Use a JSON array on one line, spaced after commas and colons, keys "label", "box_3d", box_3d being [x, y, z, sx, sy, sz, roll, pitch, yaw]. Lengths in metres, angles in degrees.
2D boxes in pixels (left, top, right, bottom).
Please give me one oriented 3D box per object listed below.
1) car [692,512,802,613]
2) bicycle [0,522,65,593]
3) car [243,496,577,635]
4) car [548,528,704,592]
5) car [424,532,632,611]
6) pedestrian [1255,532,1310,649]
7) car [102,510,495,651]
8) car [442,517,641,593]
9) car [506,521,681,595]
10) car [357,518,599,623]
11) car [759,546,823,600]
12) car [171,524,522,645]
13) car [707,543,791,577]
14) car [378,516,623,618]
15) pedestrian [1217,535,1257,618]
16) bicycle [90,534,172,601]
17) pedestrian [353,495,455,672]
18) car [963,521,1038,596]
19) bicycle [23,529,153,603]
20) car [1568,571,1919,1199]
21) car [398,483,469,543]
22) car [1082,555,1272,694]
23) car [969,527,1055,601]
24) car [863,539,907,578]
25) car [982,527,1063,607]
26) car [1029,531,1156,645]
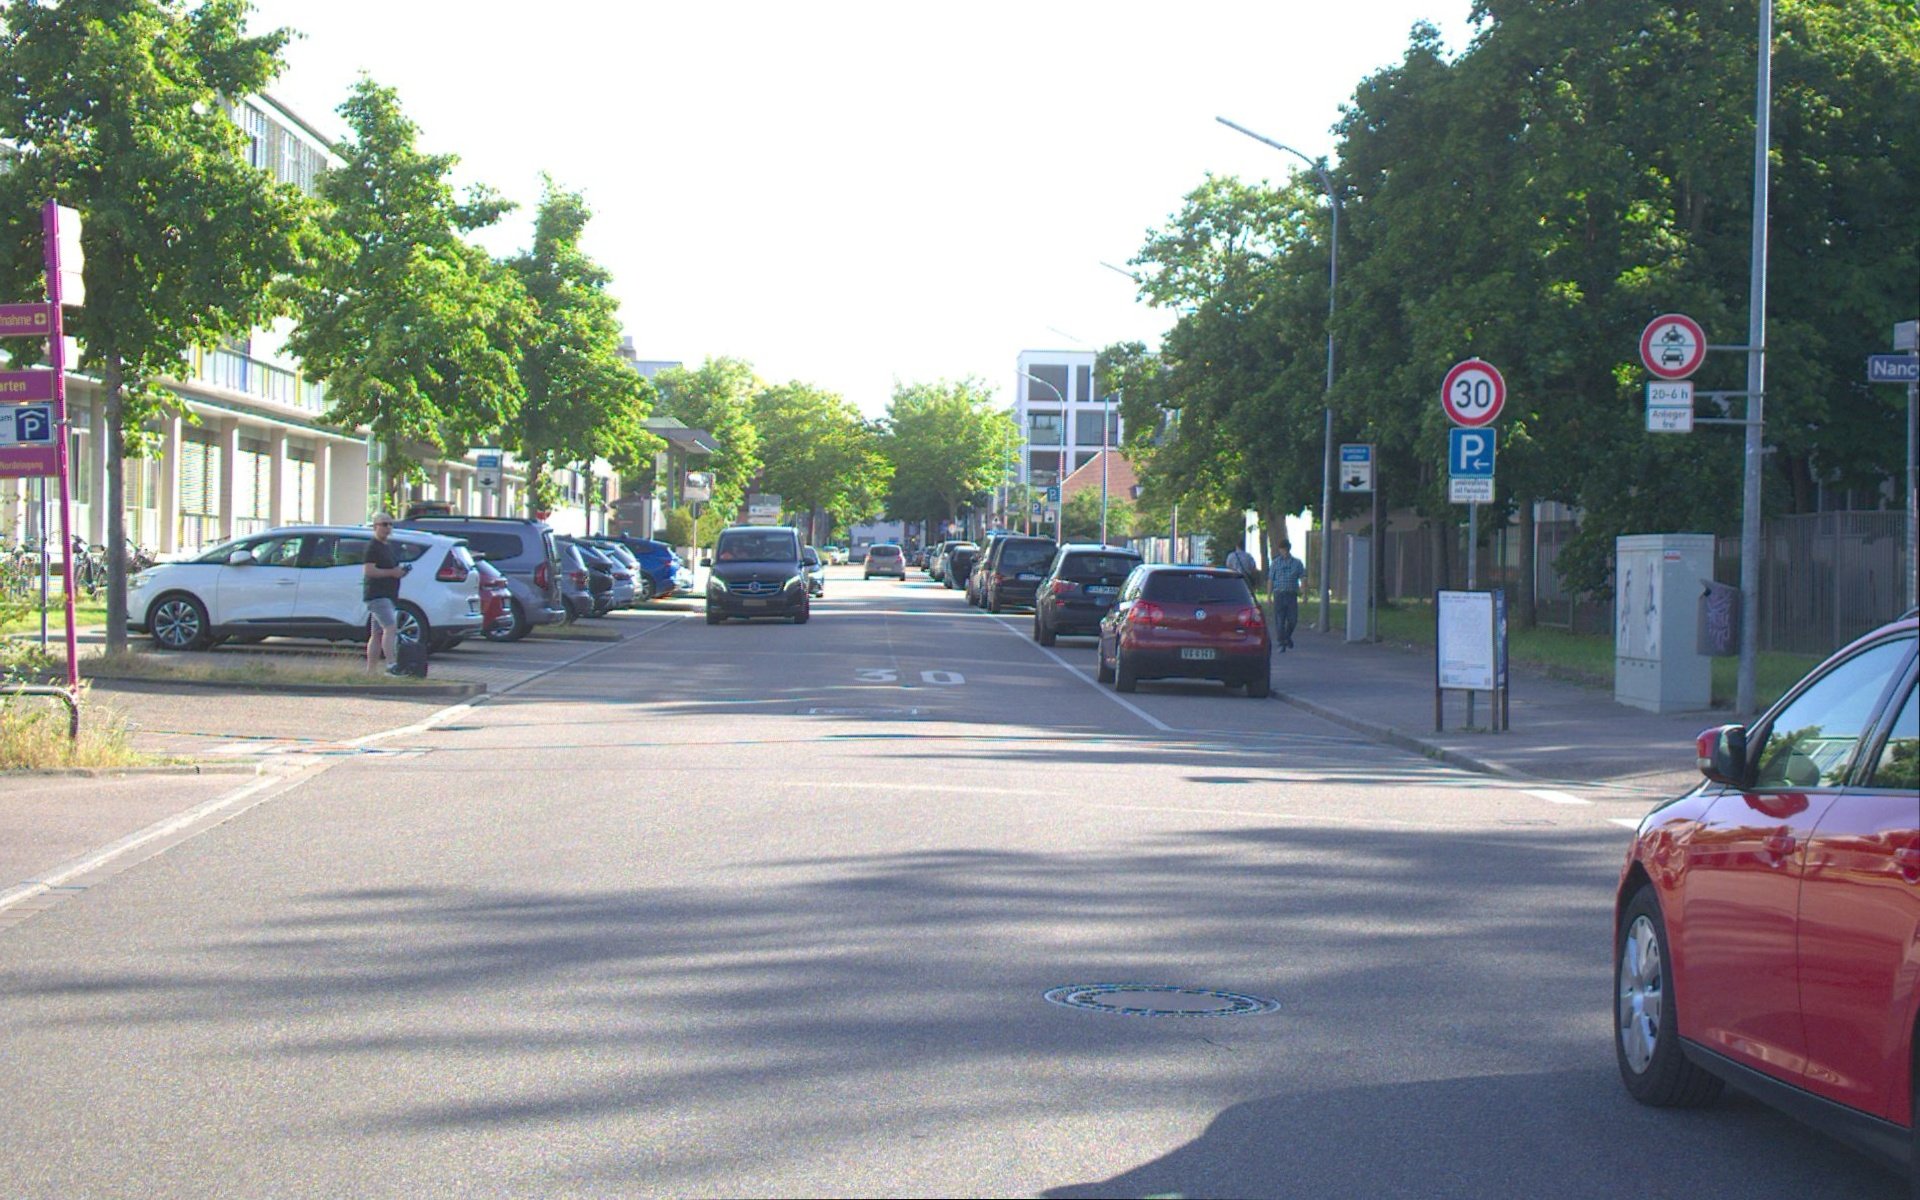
[{"label": "car", "box_3d": [-4.148, -0.752, 67.638, 1.955, 1.861, 5.255, 1, 1, -2]}, {"label": "bicycle", "box_3d": [-15.862, -0.713, 57.726, 0.869, 1.149, 1.992, 3, 0, 8]}, {"label": "car", "box_3d": [-8.345, -0.531, 52.456, 4.742, 1.858, 1.828, 3, 1, -1]}, {"label": "car", "box_3d": [-8.726, -1.059, 90.170, 3.986, 1.546, 2.000, 1, 1, -4]}, {"label": "car", "box_3d": [-8.549, -0.572, 68.255, 3.986, 1.354, 1.743, 3, 1, -5]}, {"label": "pedestrian", "box_3d": [4.878, -0.150, 52.056, 0.717, 1.752, 0.885, -1, 1, -1]}, {"label": "car", "box_3d": [-8.439, -0.256, 44.107, 4.612, 1.645, 1.867, 2, 1, 2]}, {"label": "car", "box_3d": [-9.122, -0.989, 75.194, 4.213, 1.457, 1.872, 3, 1, -5]}, {"label": "car", "box_3d": [-9.057, -1.049, 85.205, 4.213, 1.597, 1.872, 3, 1, -5]}, {"label": "car", "box_3d": [-8.302, -0.520, 59.453, 3.986, 1.601, 1.872, 3, 1, -5]}, {"label": "car", "box_3d": [-4.695, -0.770, 95.918, 1.703, 1.446, 4.087, 0, 1, -1]}, {"label": "car", "box_3d": [-8.303, -0.214, 46.812, 4.433, 1.496, 1.827, 2, 1, -1]}, {"label": "car", "box_3d": [-10.327, -1.957, 168.802, 3.987, 1.514, 2.000, 2, 0, -1]}, {"label": "car", "box_3d": [-8.303, -0.608, 62.408, 4.245, 1.606, 2.048, 3, 1, -5]}, {"label": "pedestrian", "box_3d": [5.567, -0.478, 69.108, 0.698, 1.655, 0.752, -1, 1, -2]}, {"label": "bicycle", "box_3d": [-14.686, -0.581, 60.956, 0.892, 1.107, 1.889, 3, 2, 2]}, {"label": "pedestrian", "box_3d": [-5.959, -0.184, 36.868, 0.858, 1.836, 0.825, 3, 1, 0]}, {"label": "car", "box_3d": [1.094, -1.150, 93.960, 1.874, 1.971, 4.000, 0, 1, -2]}, {"label": "bicycle", "box_3d": [-14.477, -0.556, 57.167, 0.870, 1.149, 2.370, 3, 0, 20]}, {"label": "car", "box_3d": [2.822, 0.749, 7.945, 1.818, 1.494, 4.453, 3, 1, -2]}, {"label": "car", "box_3d": [-18.932, -3.103, 123.783, 1.993, 2.007, 4.000, 2, 0, -2]}, {"label": "car", "box_3d": [2.492, 0.246, 40.496, 1.719, 1.450, 4.652, 2, 1, -2]}, {"label": "car", "box_3d": [1.300, -0.940, 87.717, 1.993, 1.816, 4.199, 0, 1, -2]}, {"label": "car", "box_3d": [-3.096, -1.707, 141.888, 1.743, 1.538, 4.000, 2, 1, -2]}, {"label": "car", "box_3d": [1.465, -0.793, 81.479, 1.733, 1.824, 3.905, 1, 1, -1]}, {"label": "car", "box_3d": [2.130, -0.232, 56.529, 1.812, 1.660, 4.593, 3, 2, 0]}]
